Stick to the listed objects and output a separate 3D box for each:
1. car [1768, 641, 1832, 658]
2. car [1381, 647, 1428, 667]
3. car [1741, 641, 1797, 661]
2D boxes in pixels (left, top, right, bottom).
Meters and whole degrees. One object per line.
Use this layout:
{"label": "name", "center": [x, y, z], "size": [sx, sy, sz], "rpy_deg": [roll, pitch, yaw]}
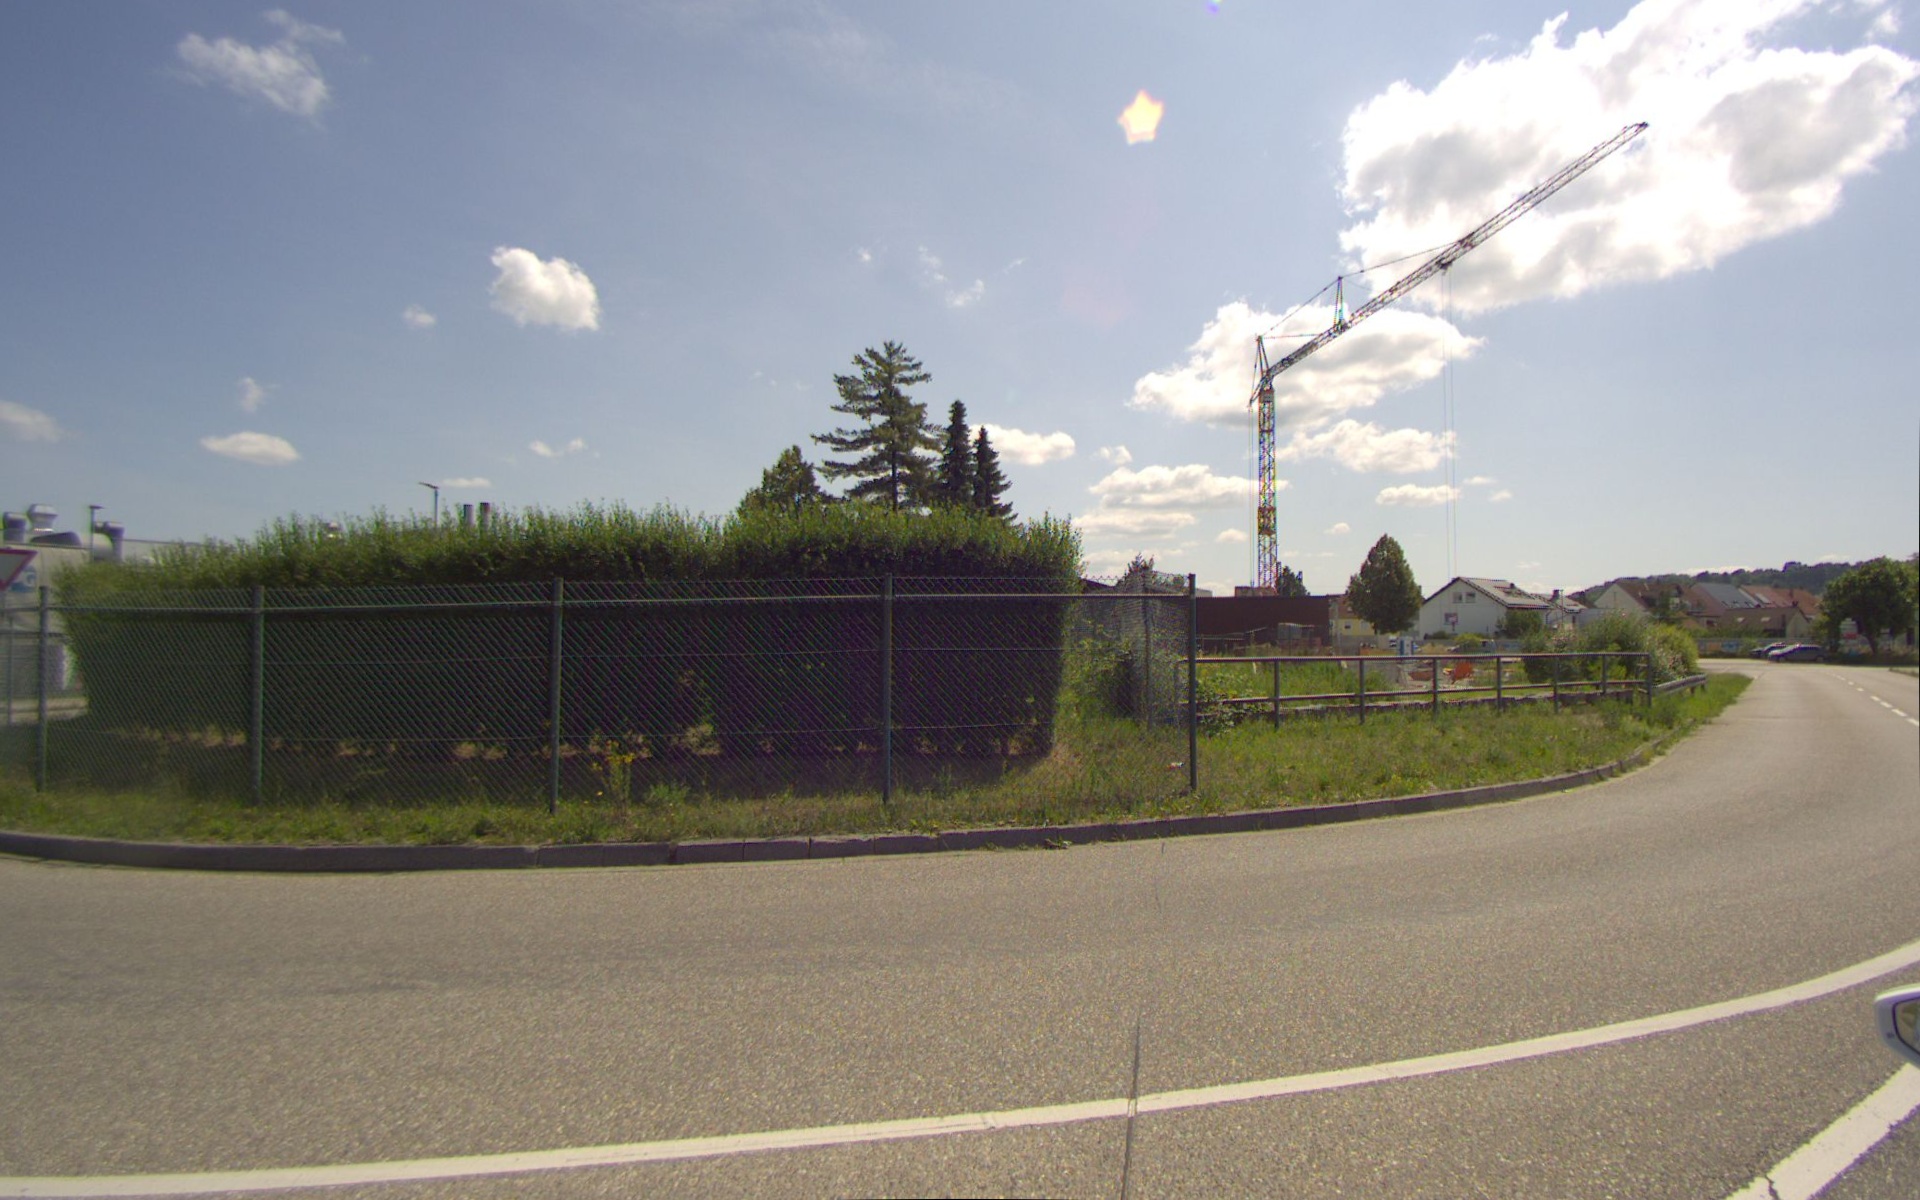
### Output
{"label": "car", "center": [74.045, 4.355, 88.598], "size": [4.128, 1.482, 1.661], "rpy_deg": [0, -3, 32]}
{"label": "car", "center": [47.039, 6.035, 106.349], "size": [4.323, 2.040, 2.001], "rpy_deg": [0, -2, 15]}
{"label": "car", "center": [77.078, 4.859, 95.723], "size": [3.929, 1.753, 1.767], "rpy_deg": [1, -2, 31]}
